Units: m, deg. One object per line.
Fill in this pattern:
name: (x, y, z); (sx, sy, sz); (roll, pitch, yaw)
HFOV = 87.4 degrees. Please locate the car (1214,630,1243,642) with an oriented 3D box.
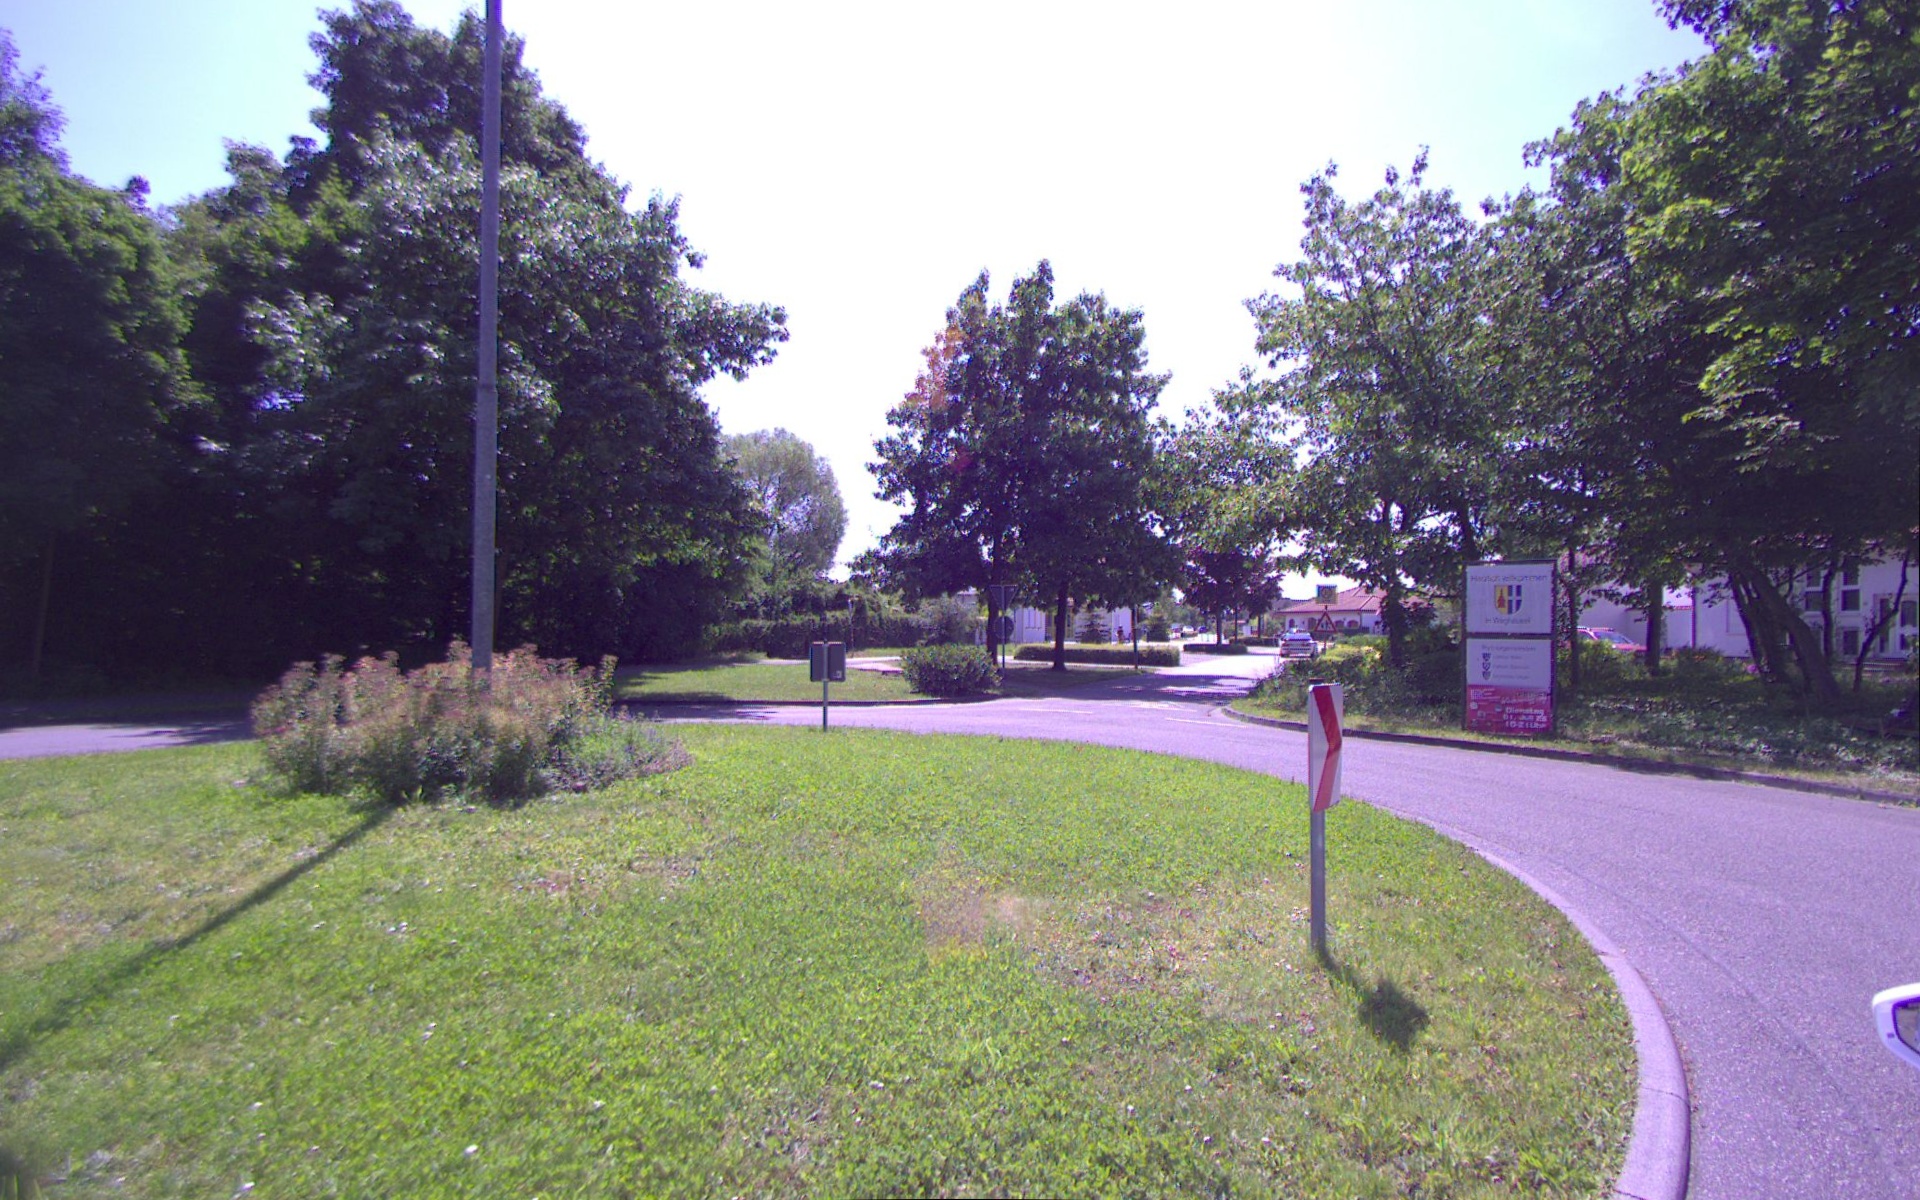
car: (31.665, 4.276, 118.635); (1.963, 1.305, 3.996); (1, -1, -7)

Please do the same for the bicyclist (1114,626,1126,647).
bicyclist: (9.494, 2.162, 59.512); (0.587, 1.180, 0.648); (0, -1, 22)

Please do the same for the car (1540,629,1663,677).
car: (23.136, 1.875, 36.417); (1.635, 1.622, 4.024); (1, -1, -6)

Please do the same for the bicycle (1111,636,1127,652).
bicycle: (9.426, 2.600, 59.346); (0.587, 0.941, 1.620); (0, -1, 22)

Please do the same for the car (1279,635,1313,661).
car: (17.981, 2.515, 53.696); (1.588, 1.305, 3.557); (0, -2, 20)

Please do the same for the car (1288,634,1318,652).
car: (31.267, 3.893, 91.607); (1.601, 1.505, 4.002); (0, -1, 4)

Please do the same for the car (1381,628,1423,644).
car: (45.970, 3.724, 104.486); (3.778, 1.563, 1.846); (1, -1, -20)
